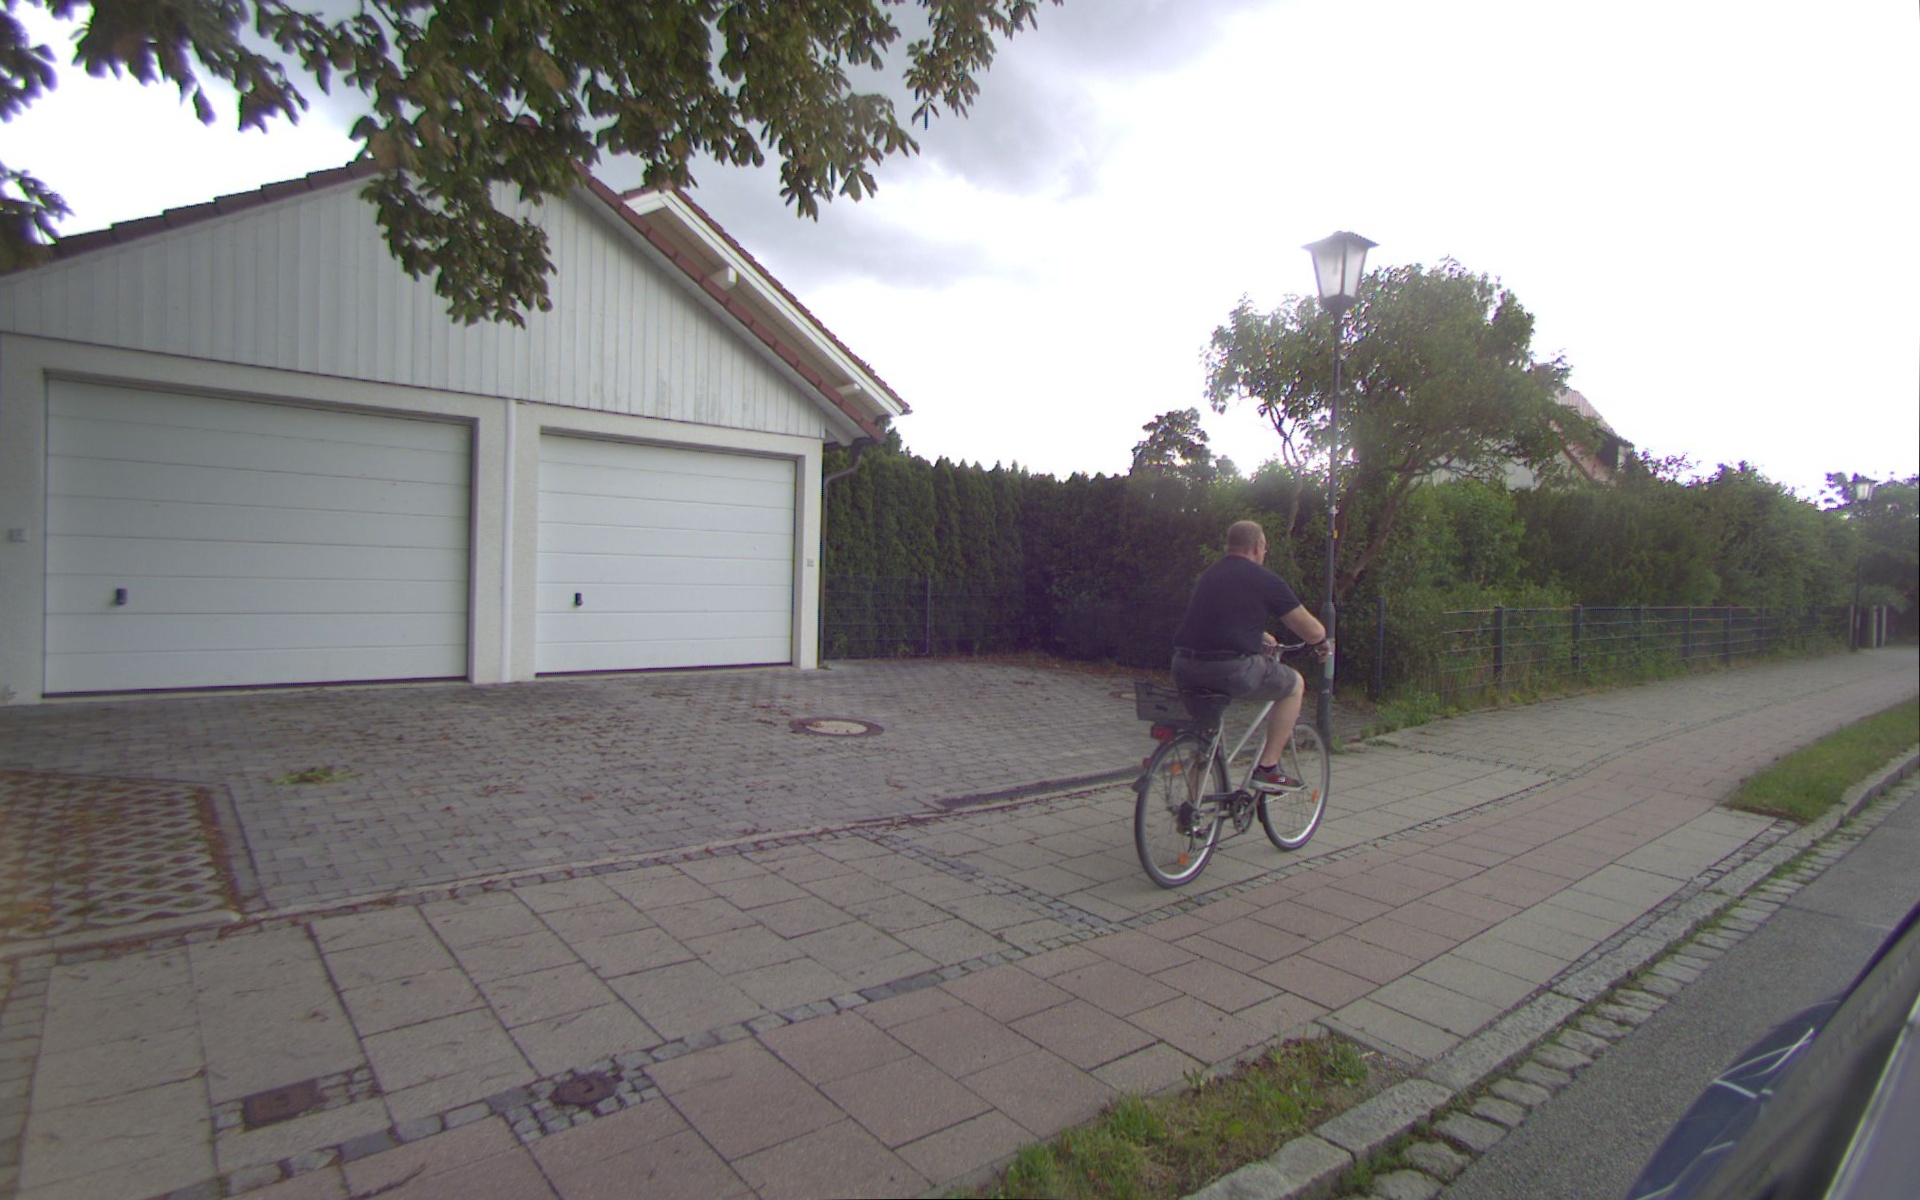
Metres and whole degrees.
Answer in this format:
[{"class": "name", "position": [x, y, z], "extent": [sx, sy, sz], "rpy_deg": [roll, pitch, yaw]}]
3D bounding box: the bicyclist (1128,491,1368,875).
[{"class": "bicyclist", "position": [1.398, 0.352, 4.927], "extent": [0.874, 1.653, 0.738], "rpy_deg": [0, 0, -37]}]

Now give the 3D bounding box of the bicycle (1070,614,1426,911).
[{"class": "bicycle", "position": [1.461, 0.672, 4.971], "extent": [1.811, 1.157, 0.766], "rpy_deg": [0, 1, -39]}]
